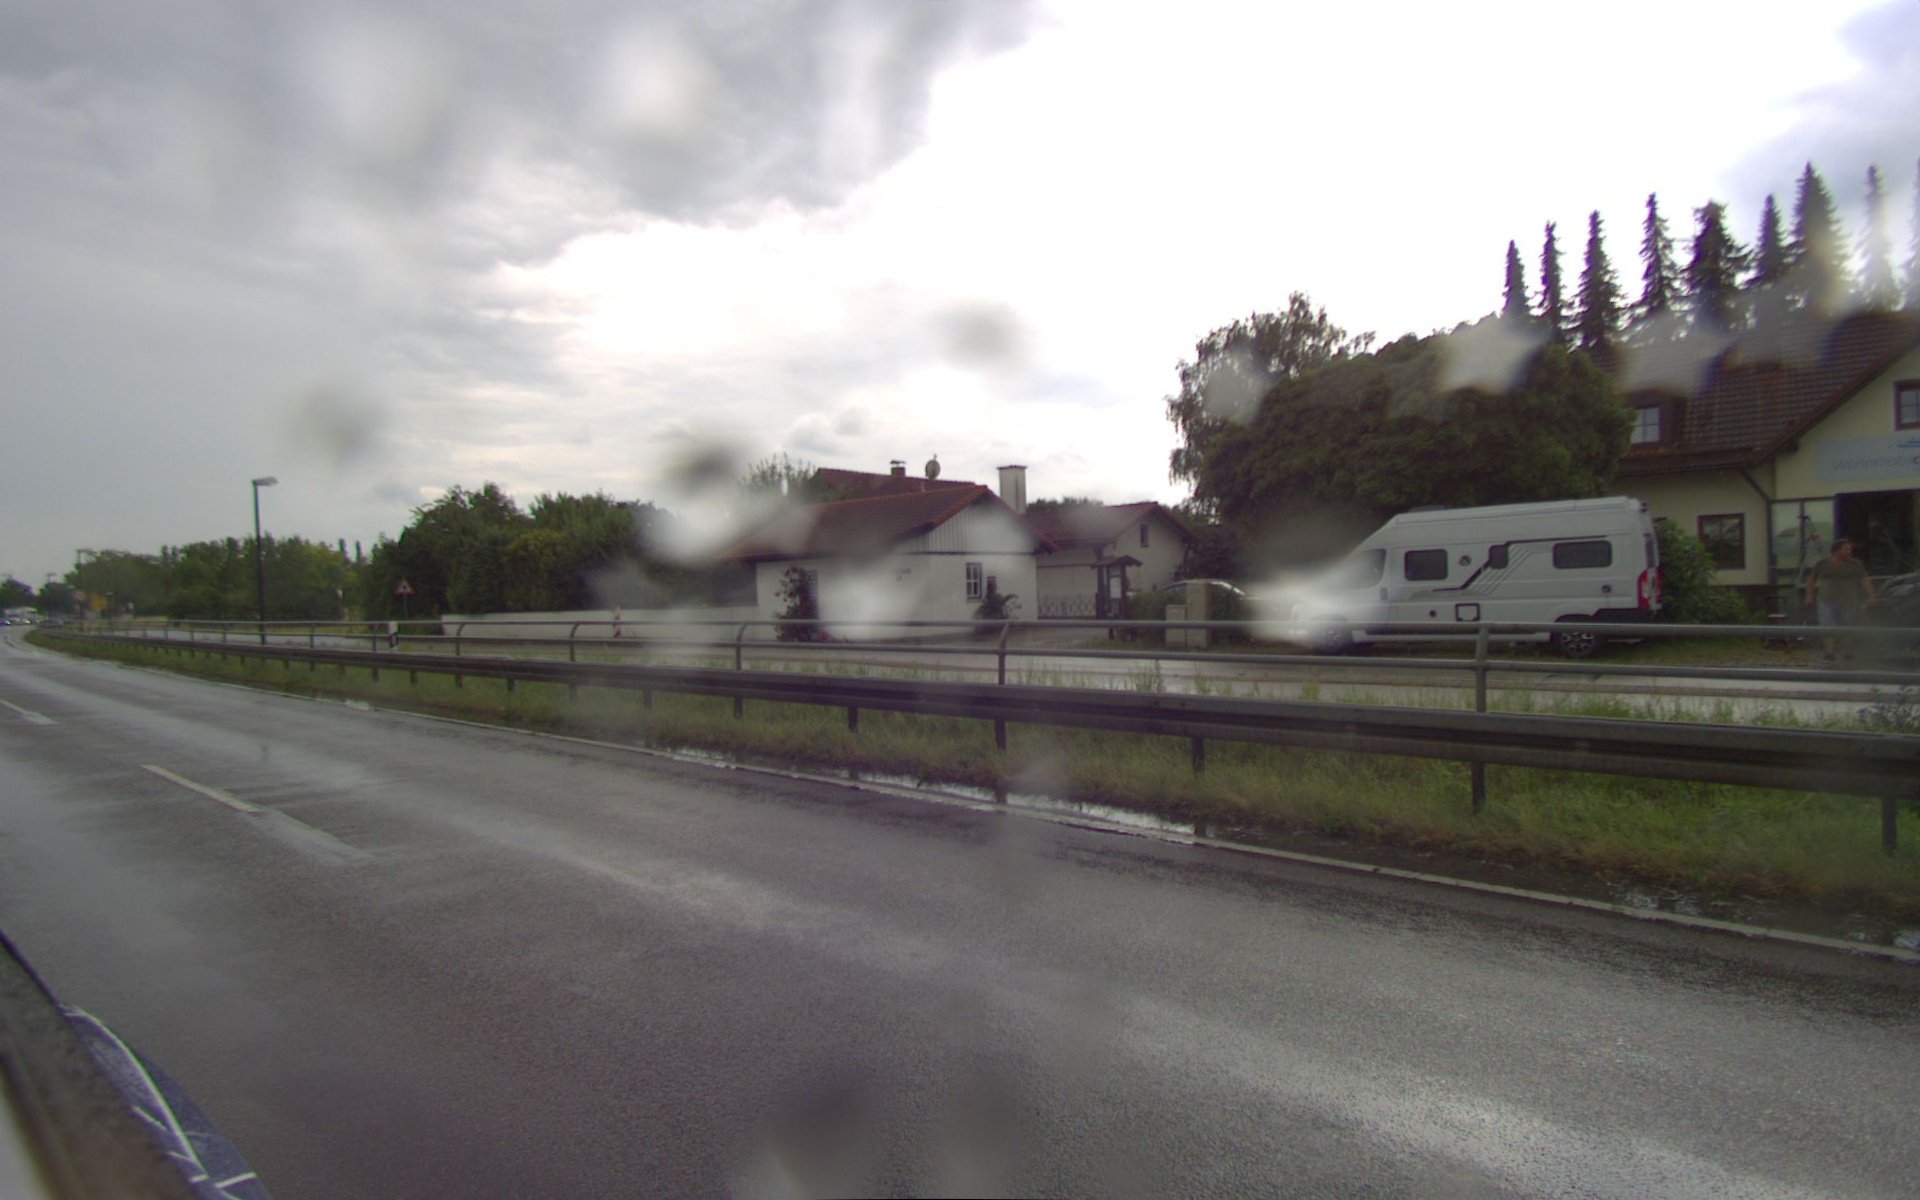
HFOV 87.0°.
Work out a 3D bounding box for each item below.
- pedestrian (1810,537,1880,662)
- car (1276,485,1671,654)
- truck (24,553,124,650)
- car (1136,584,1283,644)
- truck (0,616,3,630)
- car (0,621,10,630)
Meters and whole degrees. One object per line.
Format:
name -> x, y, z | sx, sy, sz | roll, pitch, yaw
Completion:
pedestrian -> 12.604, -0.008, 14.414 | 0.509, 1.723, 0.651 | -2, 1, -41
car -> 9.105, -0.447, 18.358 | 6.014, 2.600, 2.215 | -2, 1, 40
truck -> -49.916, 0.113, 56.910 | 7.782, 5.071, 3.214 | -1, 1, 42
car -> 6.240, 0.351, 25.473 | 3.269, 1.366, 1.433 | -1, 1, 42
truck -> -167.210, 4.015, 174.488 | 7.169, 2.494, 2.763 | -1, 1, 44
car -> -179.363, 4.788, 189.410 | 4.025, 1.746, 1.788 | -2, 1, 42
